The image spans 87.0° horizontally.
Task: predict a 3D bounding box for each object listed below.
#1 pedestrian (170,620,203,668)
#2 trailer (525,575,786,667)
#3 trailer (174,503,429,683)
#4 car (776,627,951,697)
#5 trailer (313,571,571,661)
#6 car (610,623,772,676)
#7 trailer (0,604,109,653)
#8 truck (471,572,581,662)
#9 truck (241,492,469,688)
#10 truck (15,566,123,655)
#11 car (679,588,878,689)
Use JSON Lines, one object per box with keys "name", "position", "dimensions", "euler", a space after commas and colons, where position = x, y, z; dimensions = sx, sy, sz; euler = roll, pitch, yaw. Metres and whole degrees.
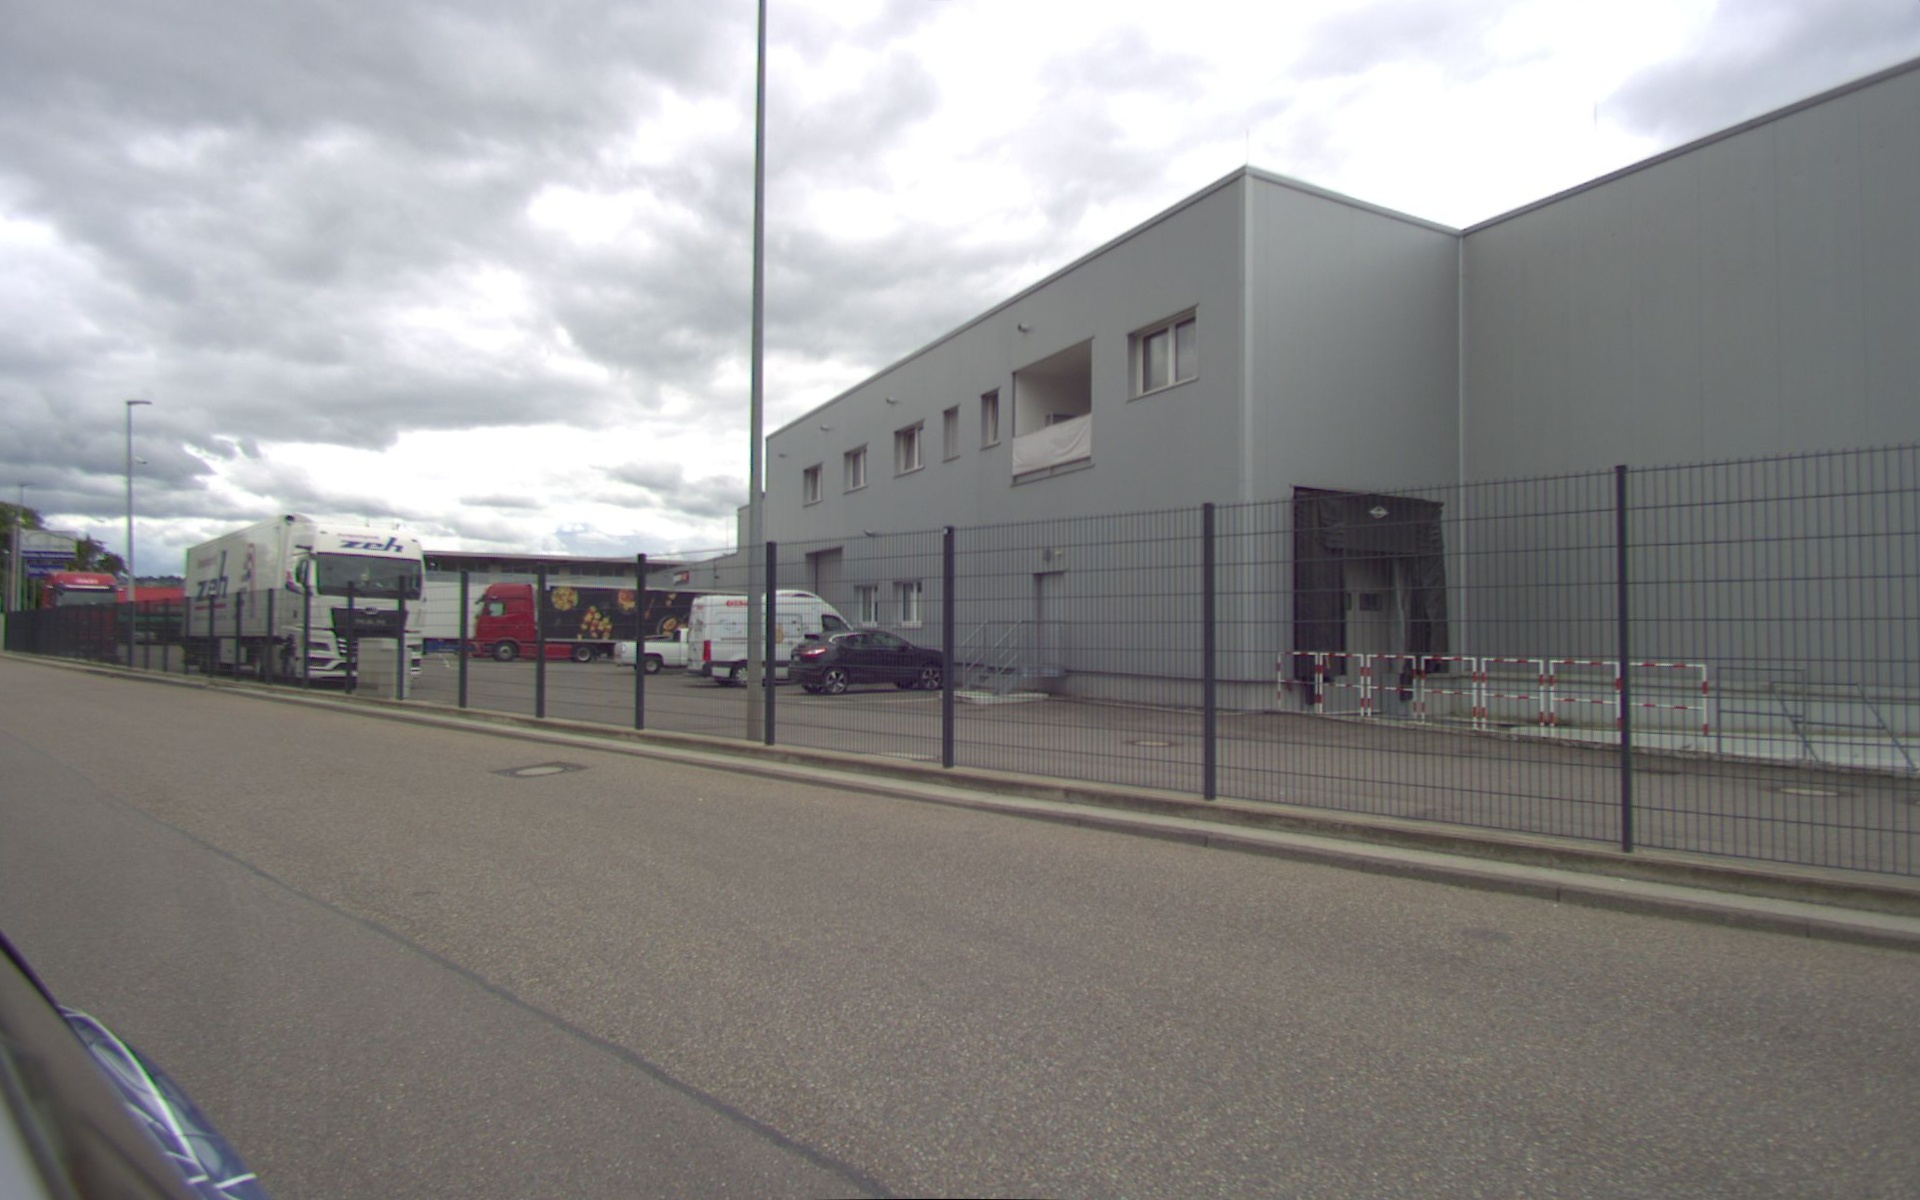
{"name": "pedestrian", "position": [-30.164, 1.721, 39.463], "dimensions": [0.879, 1.834, 0.795], "euler": [-1, -3, 39]}
{"name": "trailer", "position": [-16.145, 1.280, 54.407], "dimensions": [12.962, 4.245, 3.058], "euler": [3, -4, -27]}
{"name": "trailer", "position": [-19.817, 0.049, 29.742], "dimensions": [3.320, 4.192, 13.855], "euler": [5, -5, -45]}
{"name": "car", "position": [-2.471, 1.538, 25.968], "dimensions": [4.010, 1.589, 1.950], "euler": [0, -2, -27]}
{"name": "trailer", "position": [-27.441, 1.004, 54.245], "dimensions": [11.841, 4.164, 3.057], "euler": [4, -4, -30]}
{"name": "car", "position": [-10.128, 1.894, 38.270], "dimensions": [5.595, 1.823, 1.950], "euler": [3, -3, -27]}
{"name": "trailer", "position": [-46.630, 1.466, 51.762], "dimensions": [12.044, 2.209, 3.006], "euler": [-1, -4, 42]}
{"name": "truck", "position": [-22.071, 0.941, 51.459], "dimensions": [4.797, 4.237, 3.058], "euler": [3, -4, -26]}
{"name": "truck", "position": [-14.881, -0.063, 24.777], "dimensions": [5.630, 4.192, 3.321], "euler": [-2, -5, 45]}
{"name": "truck", "position": [-42.137, 0.555, 47.829], "dimensions": [5.668, 3.878, 2.981], "euler": [-1, -4, 42]}
{"name": "car", "position": [-5.344, 1.070, 29.930], "dimensions": [5.341, 2.751, 2.248], "euler": [0, -2, -30]}
